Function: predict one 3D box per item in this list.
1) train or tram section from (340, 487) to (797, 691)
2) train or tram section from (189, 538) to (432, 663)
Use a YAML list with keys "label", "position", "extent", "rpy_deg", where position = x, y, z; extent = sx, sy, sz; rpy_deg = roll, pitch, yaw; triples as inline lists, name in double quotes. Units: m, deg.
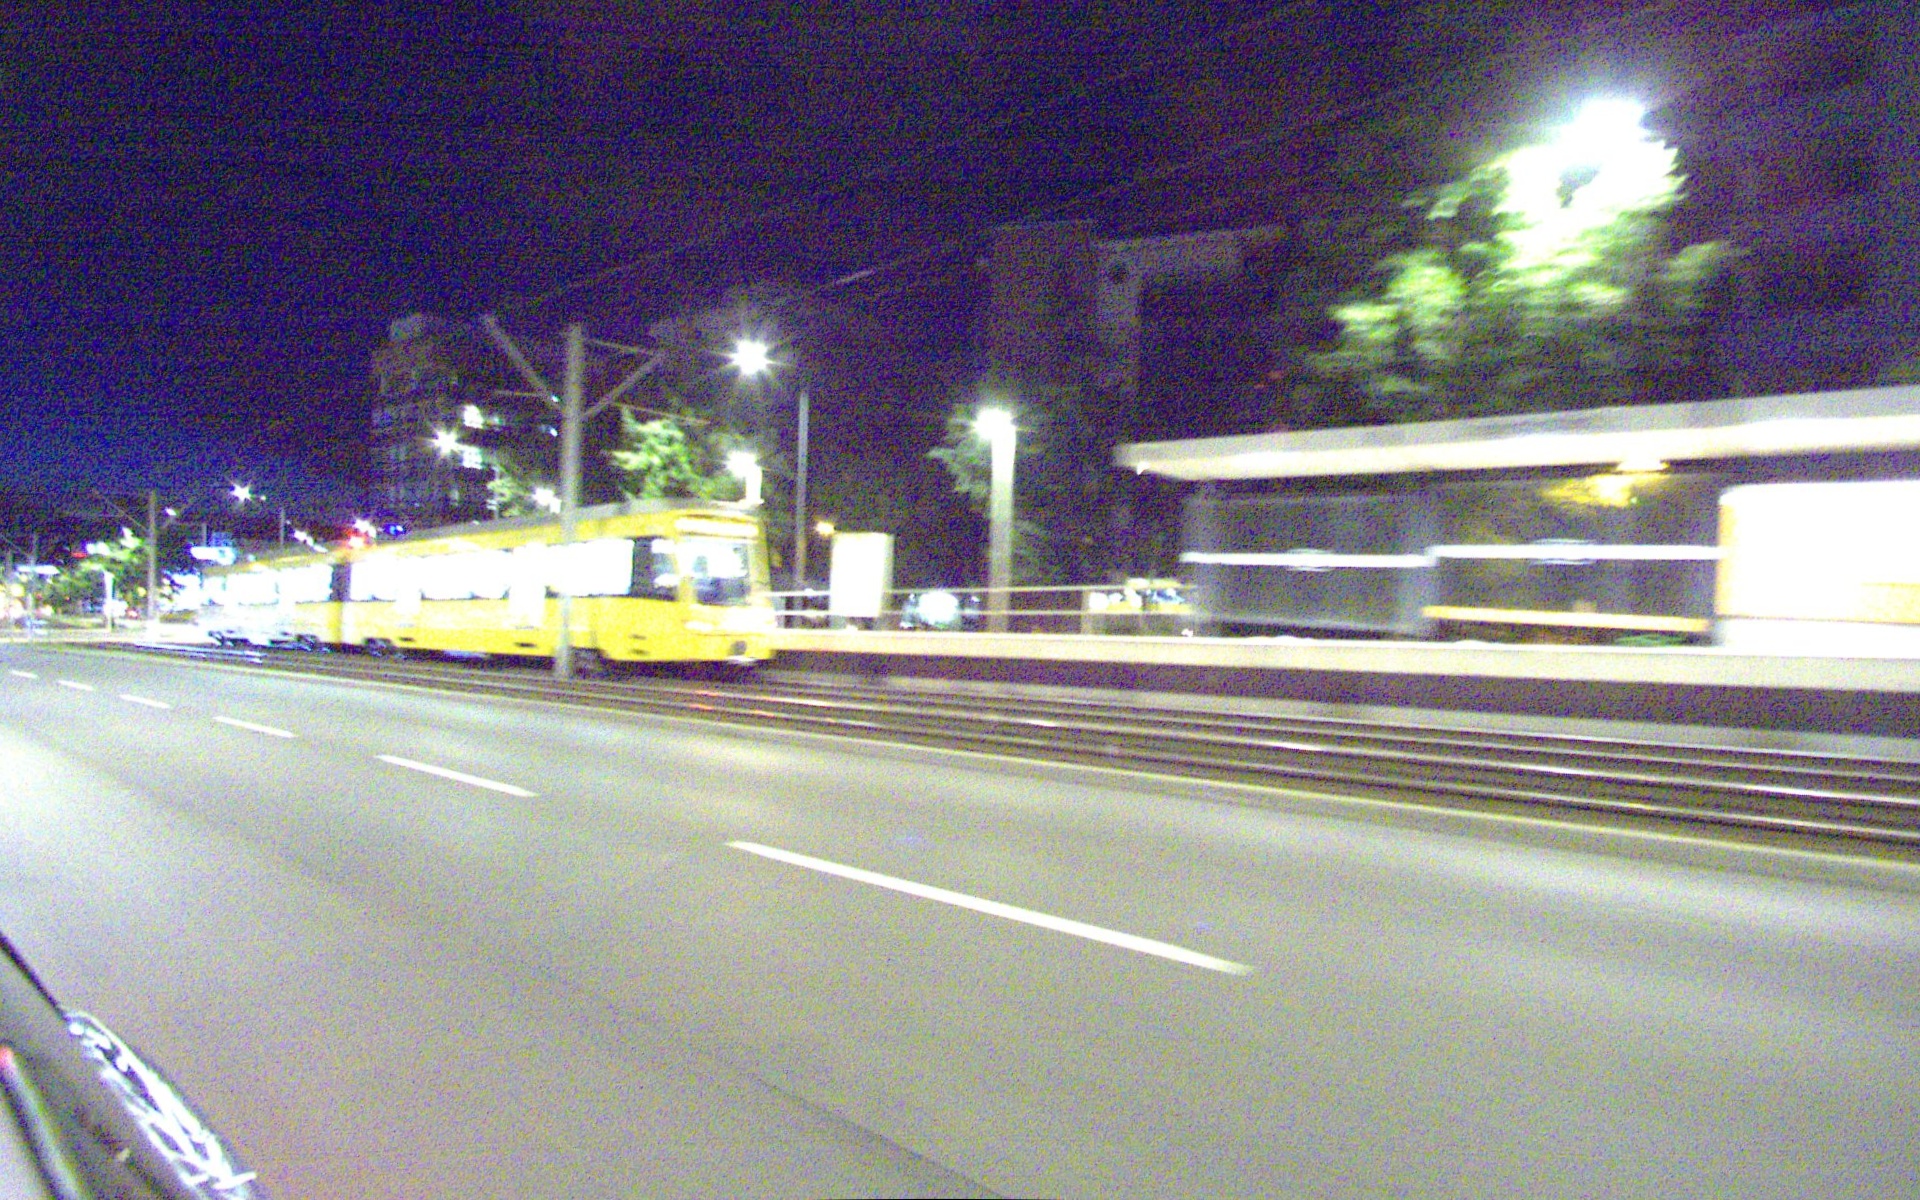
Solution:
- label: "train or tram section"
  position: [-11.318, -0.099, 26.289]
  extent: [18.661, 3.856, 2.730]
  rpy_deg: [-1, -1, 41]
- label: "train or tram section"
  position: [-25.596, 0.120, 38.890]
  extent: [19.355, 3.875, 2.709]
  rpy_deg: [-1, -1, 42]
